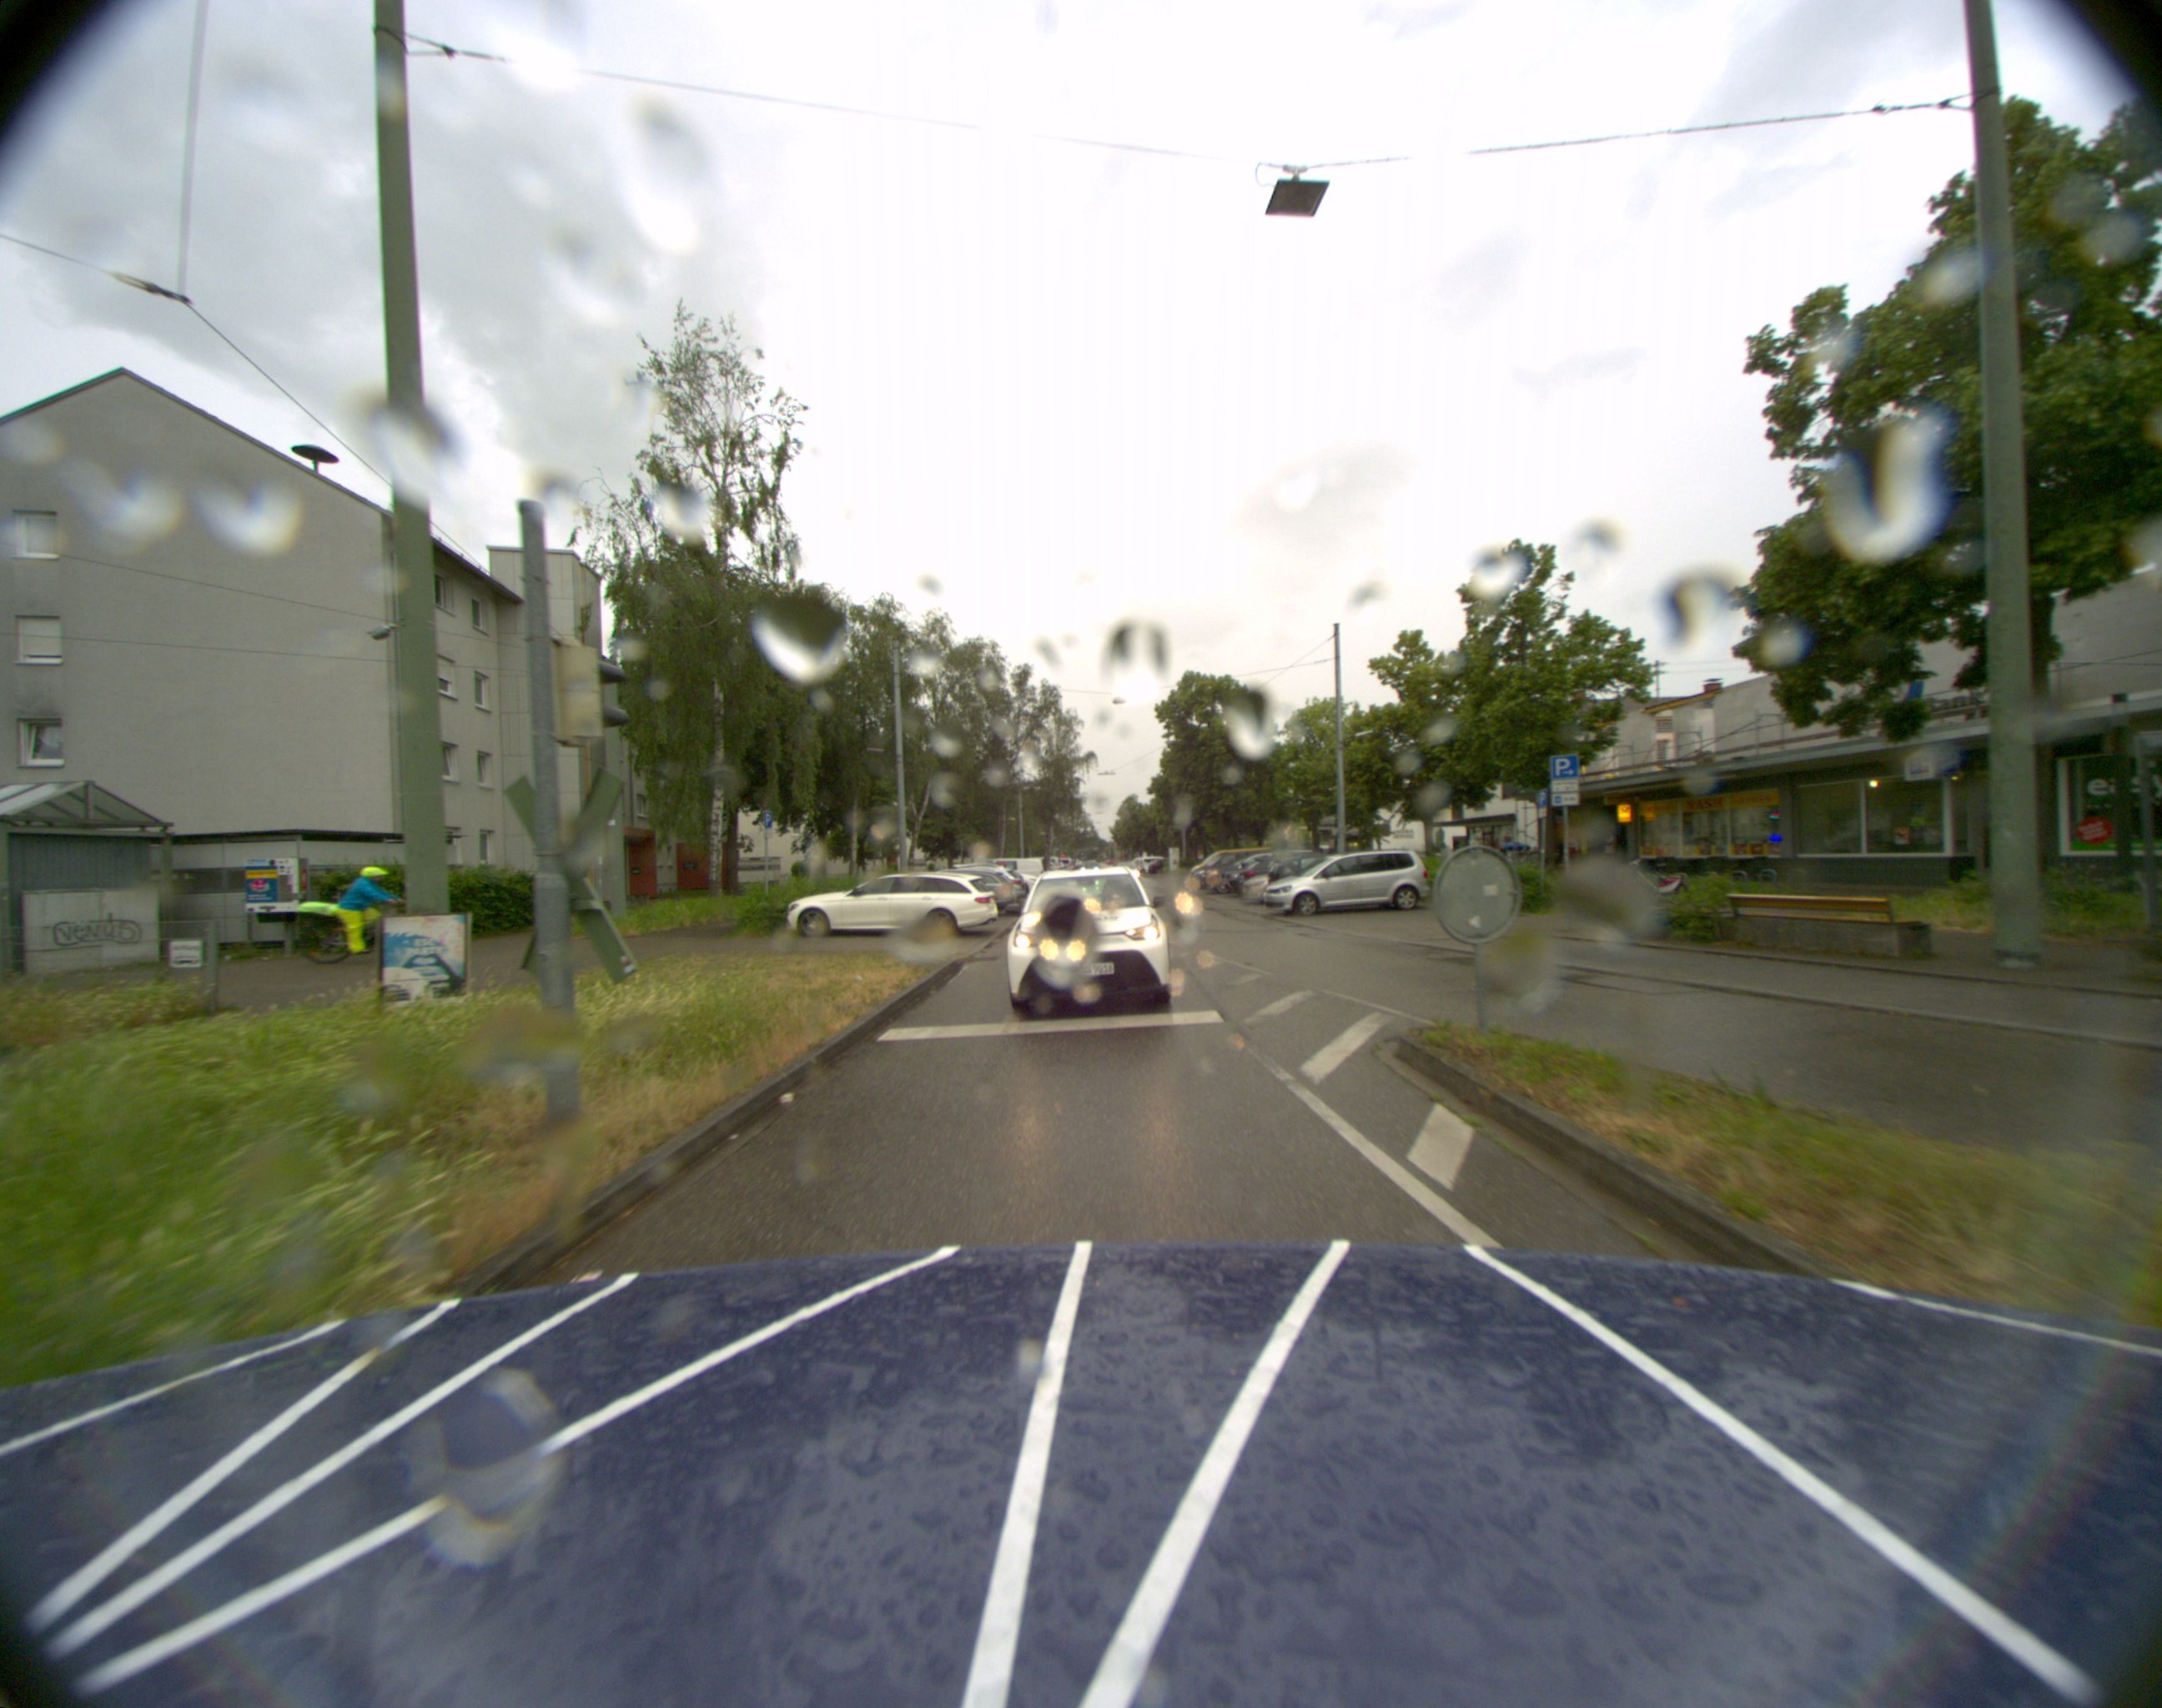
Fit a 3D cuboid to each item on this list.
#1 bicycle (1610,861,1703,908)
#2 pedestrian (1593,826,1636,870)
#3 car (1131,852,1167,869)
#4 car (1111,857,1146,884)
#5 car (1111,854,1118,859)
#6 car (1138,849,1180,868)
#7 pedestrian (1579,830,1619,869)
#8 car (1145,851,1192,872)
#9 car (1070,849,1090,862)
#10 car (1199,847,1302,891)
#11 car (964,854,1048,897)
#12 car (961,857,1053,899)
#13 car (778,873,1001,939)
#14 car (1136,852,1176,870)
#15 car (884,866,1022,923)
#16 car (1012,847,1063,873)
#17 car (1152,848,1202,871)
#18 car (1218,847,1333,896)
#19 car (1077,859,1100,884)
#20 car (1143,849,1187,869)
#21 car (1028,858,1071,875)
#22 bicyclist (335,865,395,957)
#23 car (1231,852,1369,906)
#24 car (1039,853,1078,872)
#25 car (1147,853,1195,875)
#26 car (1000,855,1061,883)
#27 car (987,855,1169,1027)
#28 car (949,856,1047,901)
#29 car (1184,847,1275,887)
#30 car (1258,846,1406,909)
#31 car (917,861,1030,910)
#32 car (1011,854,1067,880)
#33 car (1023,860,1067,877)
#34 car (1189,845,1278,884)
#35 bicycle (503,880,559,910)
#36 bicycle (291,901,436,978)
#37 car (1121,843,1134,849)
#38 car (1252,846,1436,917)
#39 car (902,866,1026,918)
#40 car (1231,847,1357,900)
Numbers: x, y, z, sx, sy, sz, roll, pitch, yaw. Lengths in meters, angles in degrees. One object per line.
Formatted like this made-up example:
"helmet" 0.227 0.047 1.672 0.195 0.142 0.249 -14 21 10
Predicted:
"bicycle" 13.722 0.704 18.162 0.594 1.066 1.748 -1 0 -17
"pedestrian" 21.257 -0.256 30.287 1.078 1.704 0.948 -2 1 12
"car" 8.920 0.884 99.922 4.546 1.931 1.899 -3 0 0
"car" 3.181 1.084 51.669 1.962 1.544 3.998 -3 2 -1
"car" 9.924 0.877 226.040 1.998 1.319 4.000 -4 0 1
"car" 8.990 0.563 87.766 4.546 1.931 1.899 -3 0 0
"pedestrian" 21.496 -0.203 31.552 1.078 1.575 0.948 -2 1 12
"car" 9.152 0.763 79.592 4.546 1.931 1.899 -3 0 0
"car" -0.291 0.400 180.267 4.546 2.928 1.899 -3 0 0
"car" 7.449 0.650 33.678 4.088 1.699 1.899 -3 0 0
"car" -4.114 1.155 42.329 4.443 2.050 1.722 -4 0 -2
"car" -3.787 1.200 39.405 4.441 1.835 1.723 -4 0 2
"car" -4.468 1.208 18.279 4.838 1.449 2.000 0 0 2
"car" 8.996 0.864 91.725 4.546 1.931 1.899 -3 0 0
"car" -4.013 1.276 24.322 3.996 1.477 1.723 -4 0 2
"car" -3.895 0.557 69.005 4.443 2.050 1.722 -4 0 -2
"car" 9.293 0.527 74.092 4.546 1.931 1.899 -3 0 0
"car" 7.778 0.682 30.652 4.088 1.699 1.899 -3 0 0
"car" 0.678 1.583 70.146 1.999 2.002 4.000 -4 0 0
"car" 9.262 0.542 84.135 4.546 1.931 1.899 -3 0 0
"car" -3.459 1.357 83.396 4.546 1.574 1.899 -3 0 0
"bicyclist" -12.372 0.961 13.144 0.700 1.507 0.723 -2 -1 -42
"car" 7.464 0.828 26.218 4.088 1.562 2.000 -3 0 0
"car" -2.630 1.030 90.272 4.546 2.013 1.899 -3 0 0
"car" 9.068 1.015 77.155 4.546 1.931 1.899 -3 0 0
"car" -3.930 1.136 59.431 4.546 1.931 1.899 -3 0 0
"car" 0.079 0.914 9.289 1.719 1.613 3.717 -3 -2 3
"car" -4.020 1.182 37.120 4.441 1.835 1.723 -4 0 2
"car" 7.698 0.686 39.739 4.302 1.799 1.899 -3 0 0
"car" 7.756 0.705 23.713 3.945 1.664 1.794 -3 0 0
"car" -4.101 1.201 29.456 3.996 1.576 1.723 -4 0 2
"car" -3.522 1.102 64.784 4.546 1.931 1.899 -3 0 0
"car" -3.783 1.527 80.196 4.546 1.574 1.899 -3 0 0
"car" 8.521 0.572 42.702 4.546 1.931 1.899 -3 0 0
"bicycle" -19.223 1.436 26.585 1.476 0.946 0.533 -2 0 -13
"bicycle" -12.347 1.438 13.140 1.757 1.123 0.727 -2 -1 -42
"car" 15.083 -2.740 246.740 3.997 1.688 2.000 -4 0 1
"car" 7.177 0.733 21.066 4.335 1.664 2.000 -3 0 0
"car" -4.078 1.315 26.880 3.996 1.477 1.723 -4 0 2
"car" 7.918 0.713 28.519 4.088 1.699 1.899 -3 0 0
